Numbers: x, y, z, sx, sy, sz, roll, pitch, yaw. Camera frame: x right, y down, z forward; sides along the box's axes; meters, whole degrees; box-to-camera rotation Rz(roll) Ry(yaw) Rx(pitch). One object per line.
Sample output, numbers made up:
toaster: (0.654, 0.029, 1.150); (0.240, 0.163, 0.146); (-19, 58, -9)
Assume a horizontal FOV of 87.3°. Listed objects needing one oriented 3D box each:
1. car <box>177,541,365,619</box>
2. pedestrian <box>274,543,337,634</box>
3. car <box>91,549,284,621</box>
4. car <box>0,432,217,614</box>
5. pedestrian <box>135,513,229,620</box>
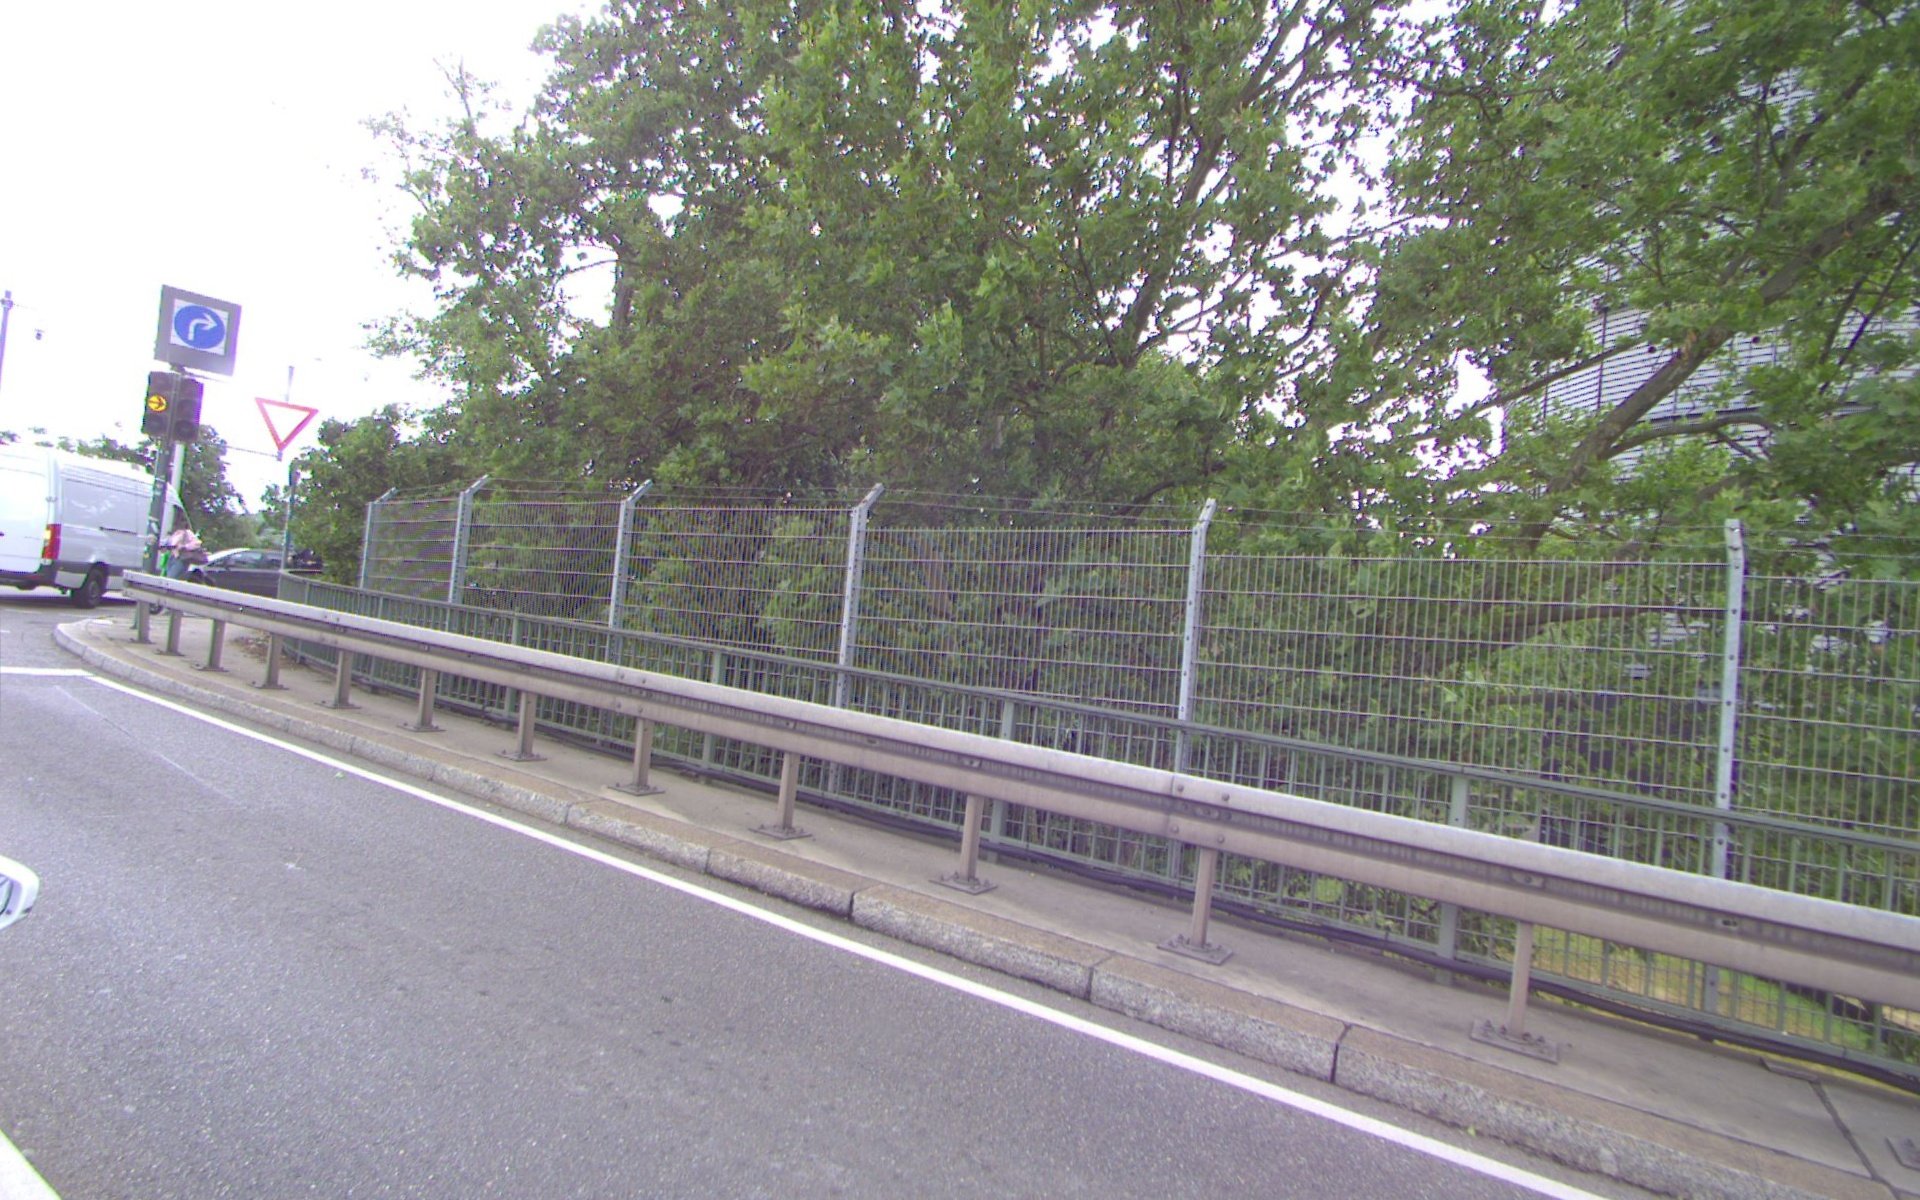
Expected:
car: (-19.894, -0.536, 29.199); (1.784, 1.684, 3.991); (7, -1, 34)
pedestrian: (-12.683, -0.230, 19.505); (0.775, 1.639, 0.673); (7, 0, -26)
car: (-27.490, -0.516, 36.095); (5.192, 1.792, 1.987); (9, -1, -34)
car: (-16.751, -1.395, 19.201); (2.088, 2.816, 6.748); (8, -1, -21)
pedestrian: (-13.246, -0.563, 17.141); (0.963, 1.698, 0.834); (4, -2, 29)
